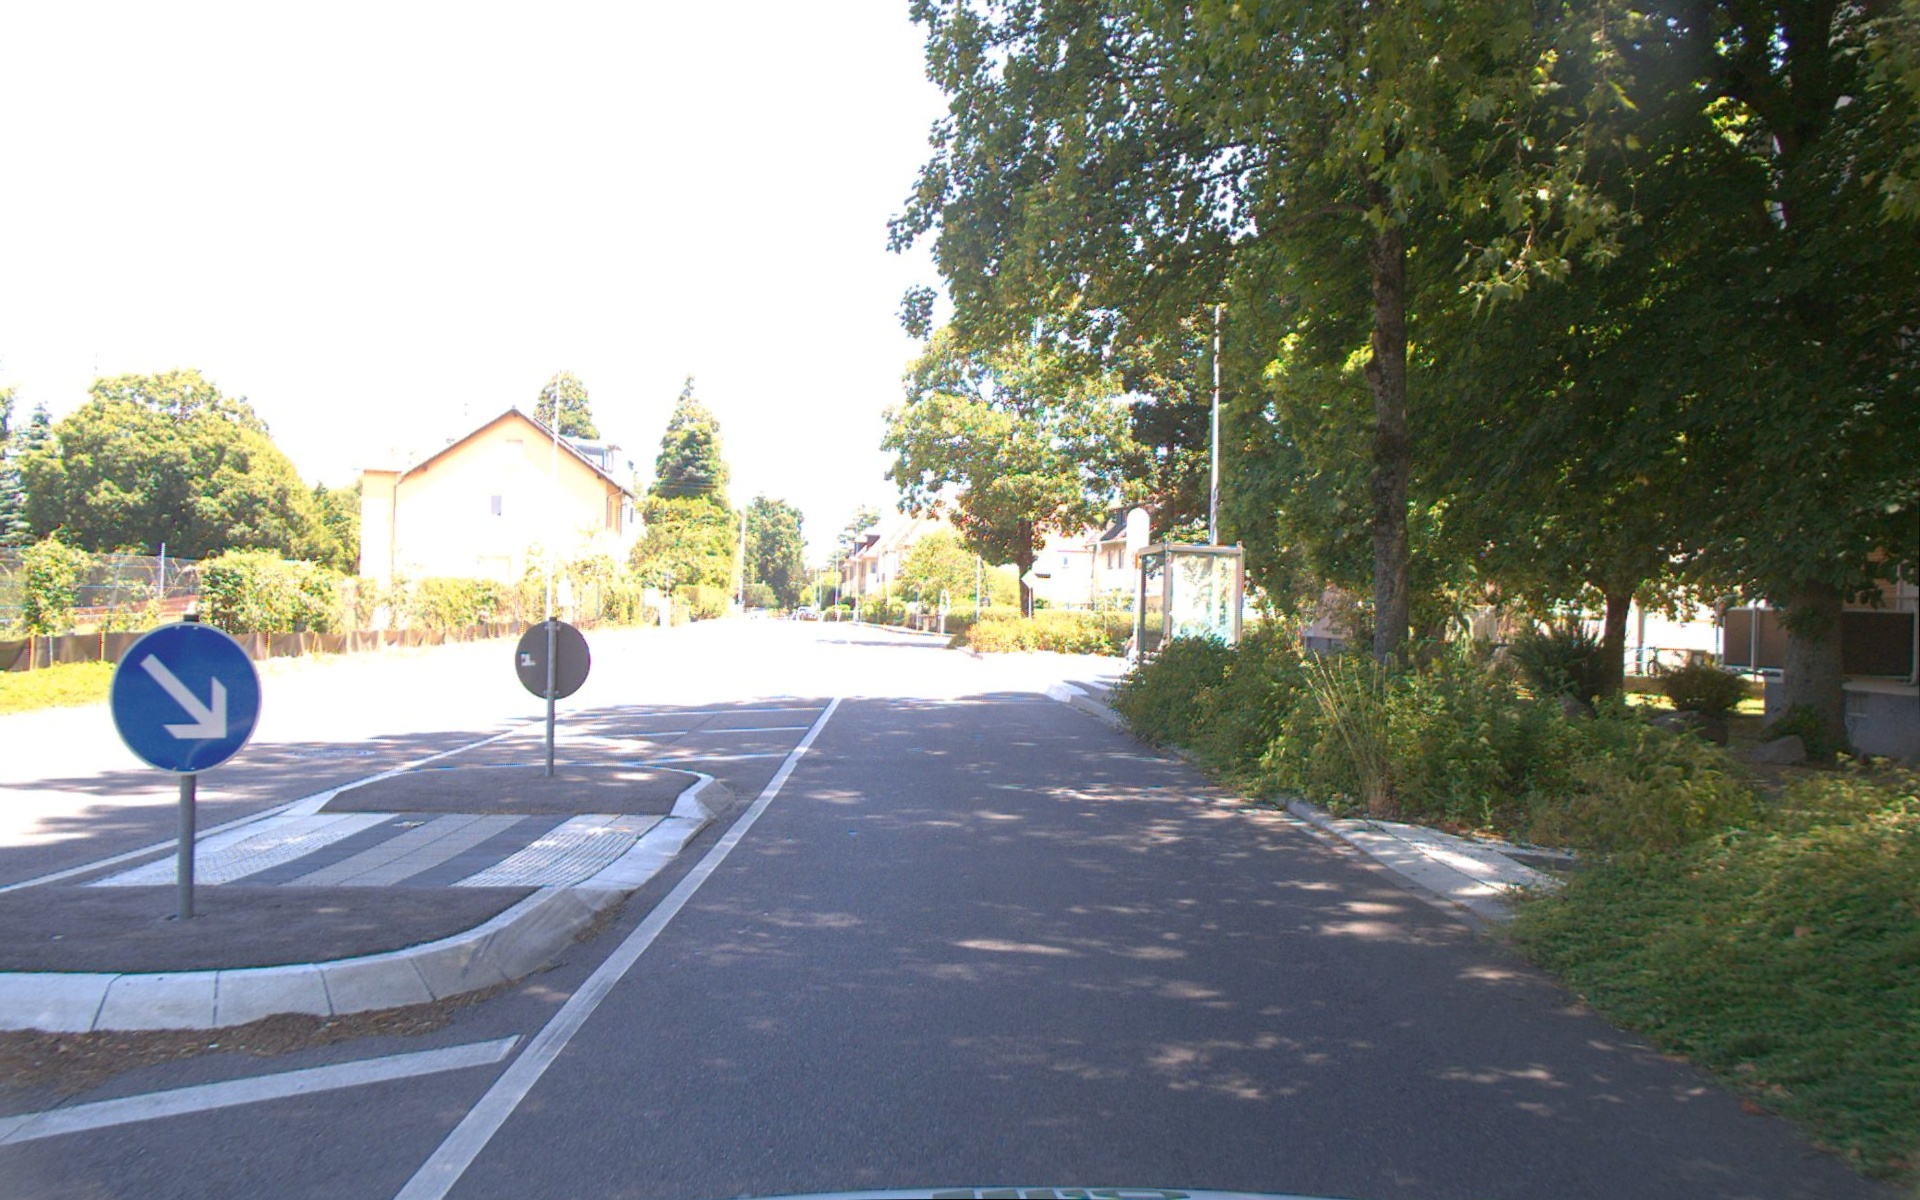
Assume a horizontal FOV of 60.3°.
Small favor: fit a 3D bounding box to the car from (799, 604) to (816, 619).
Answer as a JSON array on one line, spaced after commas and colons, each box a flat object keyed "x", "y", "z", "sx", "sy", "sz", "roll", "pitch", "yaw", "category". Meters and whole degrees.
[{"x": -16.764, "y": 1.288, "z": 181.600, "sx": 1.661, "sy": 1.444, "sz": 4.541, "roll": 2, "pitch": -2, "yaw": -8, "category": "car"}]

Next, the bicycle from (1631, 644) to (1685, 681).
[{"x": 22.222, "y": 1.986, "z": 52.675, "sx": 0.708, "sy": 1.085, "sz": 2.184, "roll": 2, "pitch": 0, "yaw": -2, "category": "bicycle"}]

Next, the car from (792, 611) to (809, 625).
[{"x": -18.384, "y": 2.094, "z": 190.880, "sx": 1.661, "sy": 1.444, "sz": 4.541, "roll": 2, "pitch": -2, "yaw": -8, "category": "car"}]

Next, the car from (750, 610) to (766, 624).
[{"x": -21.889, "y": 1.825, "z": 179.159, "sx": 1.648, "sy": 1.396, "sz": 4.200, "roll": 0, "pitch": 0, "yaw": -6, "category": "car"}]
